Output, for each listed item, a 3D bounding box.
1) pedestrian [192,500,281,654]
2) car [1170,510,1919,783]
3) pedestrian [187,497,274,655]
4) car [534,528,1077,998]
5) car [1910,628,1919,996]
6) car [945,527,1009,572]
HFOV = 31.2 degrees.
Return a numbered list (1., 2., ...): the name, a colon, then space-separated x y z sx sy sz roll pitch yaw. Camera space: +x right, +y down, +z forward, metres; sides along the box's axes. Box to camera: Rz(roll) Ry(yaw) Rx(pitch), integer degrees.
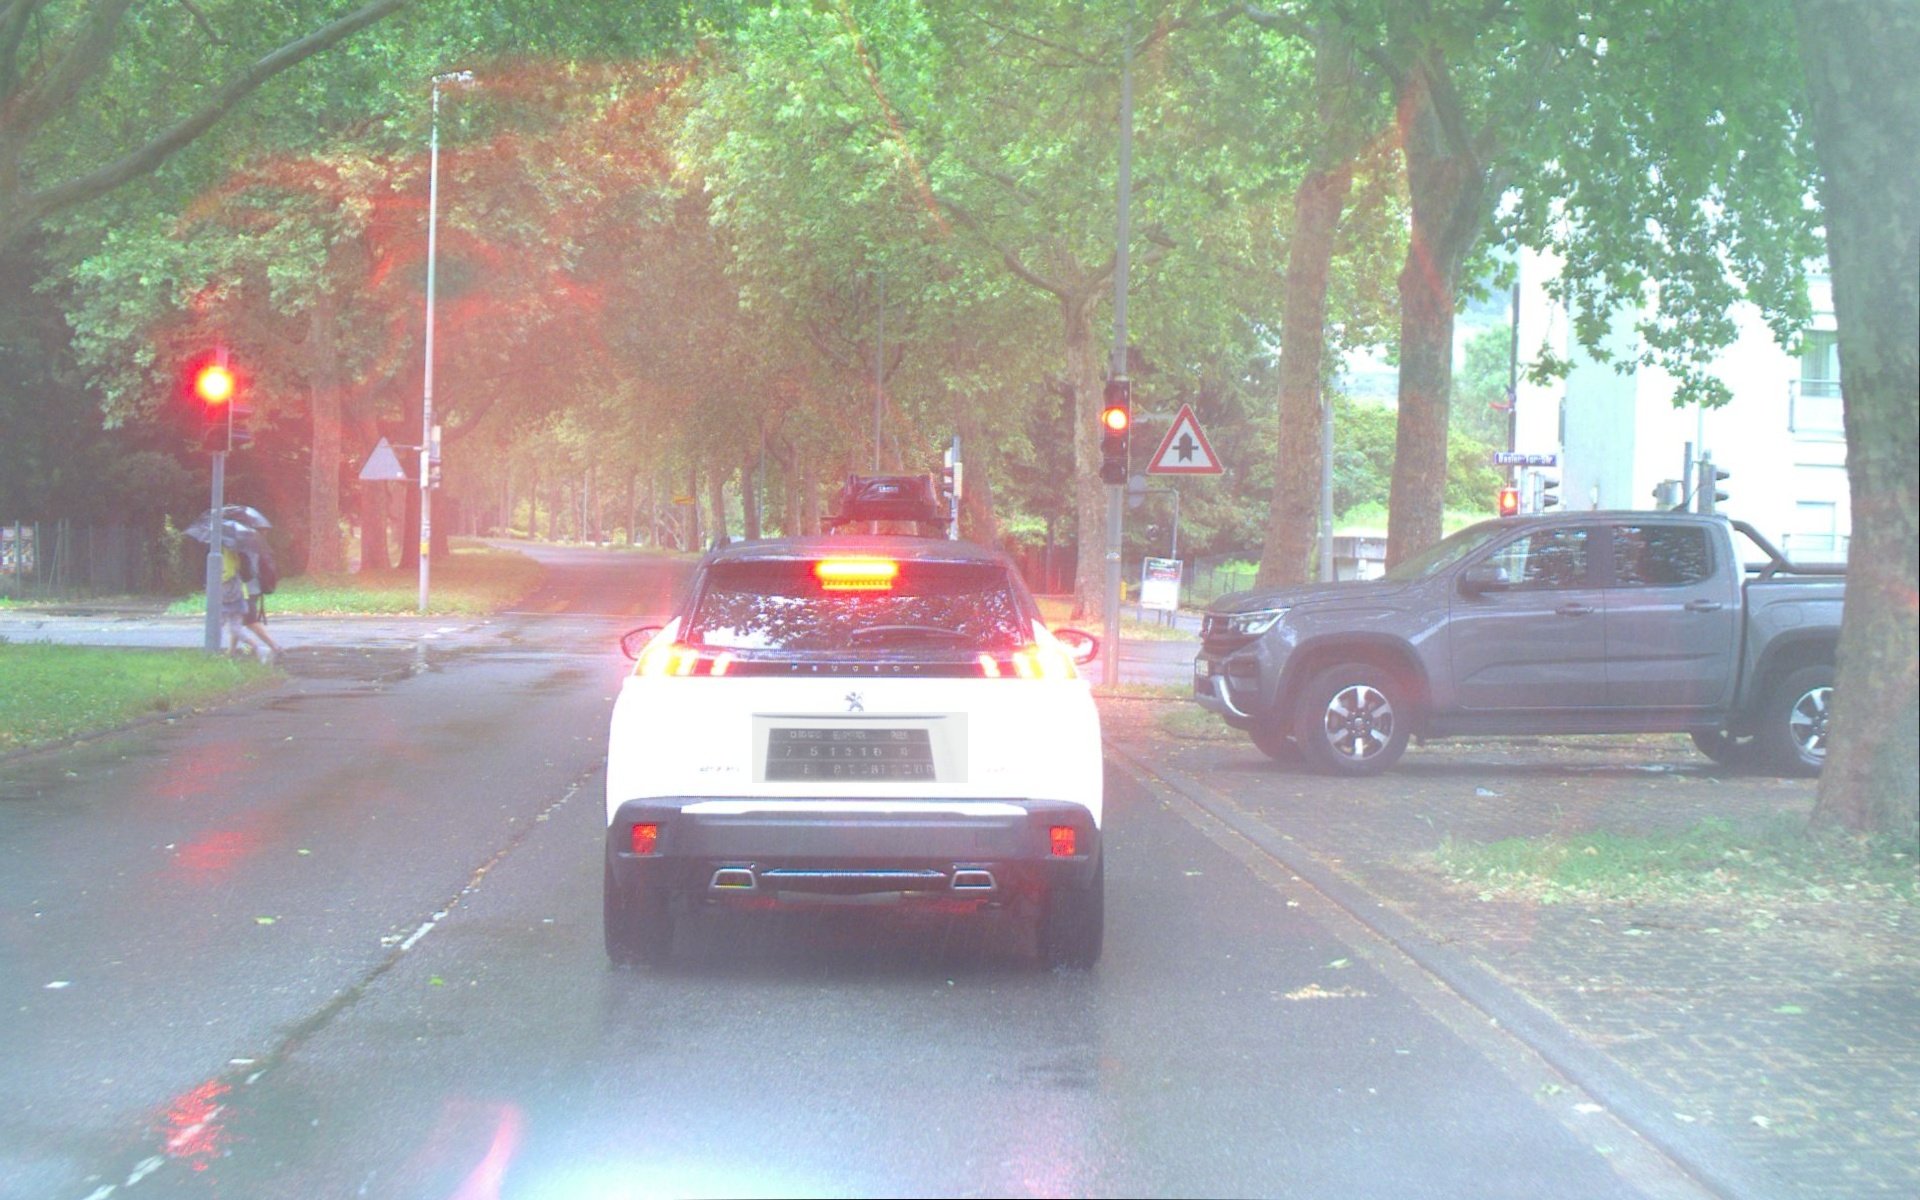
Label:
1. pedestrian: -8.315 -0.266 39.527 0.858 1.738 0.640 2 1 -3
2. car: 4.276 0.308 23.986 5.337 1.800 1.846 0 1 -7
3. pedestrian: -8.186 -0.273 38.617 0.820 1.738 0.640 2 1 -3
4. car: -0.541 0.502 13.471 1.780 1.531 4.058 1 1 -1
5. car: 4.882 0.630 10.681 3.355 1.459 1.619 1 1 -2
6. car: 0.584 -1.760 119.810 1.905 1.504 3.932 1 1 -4
